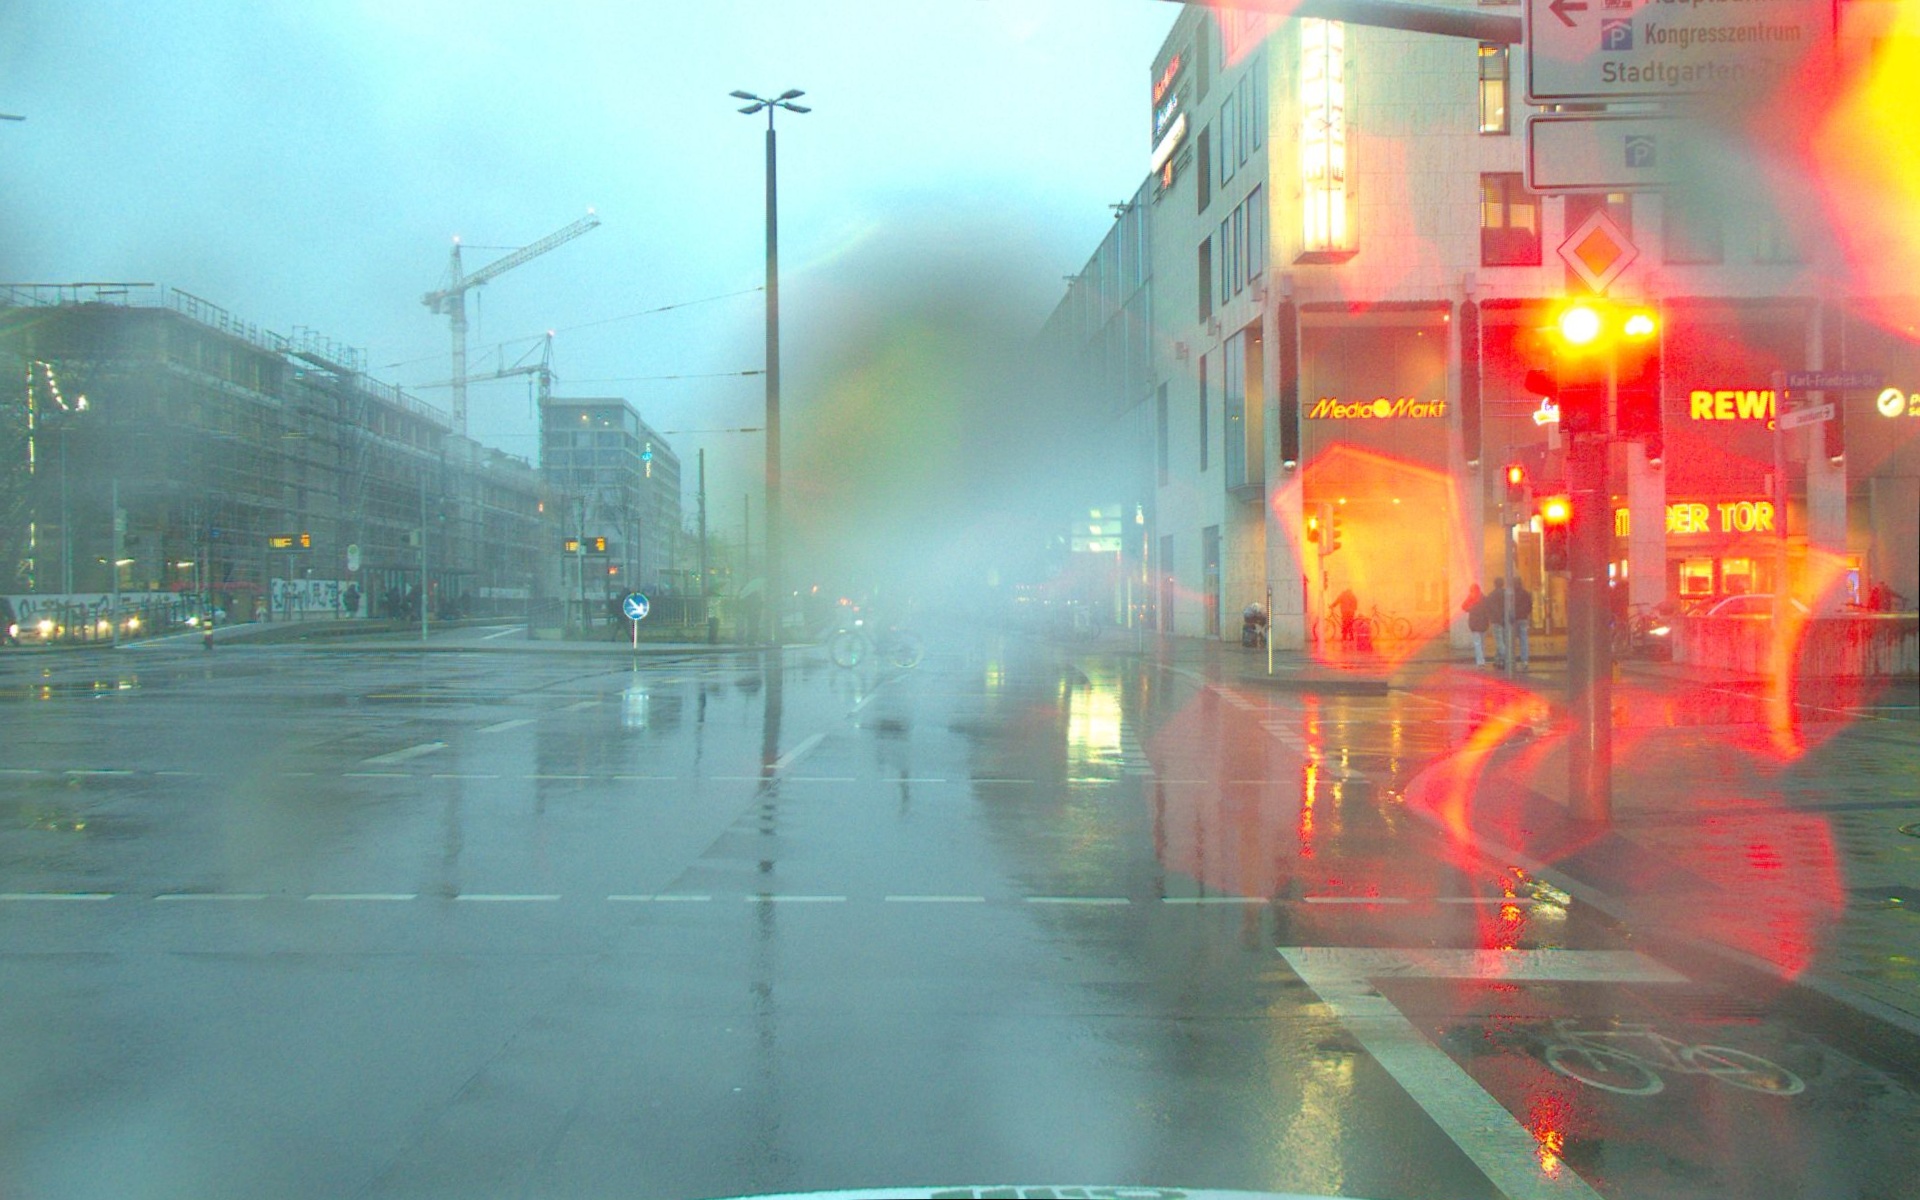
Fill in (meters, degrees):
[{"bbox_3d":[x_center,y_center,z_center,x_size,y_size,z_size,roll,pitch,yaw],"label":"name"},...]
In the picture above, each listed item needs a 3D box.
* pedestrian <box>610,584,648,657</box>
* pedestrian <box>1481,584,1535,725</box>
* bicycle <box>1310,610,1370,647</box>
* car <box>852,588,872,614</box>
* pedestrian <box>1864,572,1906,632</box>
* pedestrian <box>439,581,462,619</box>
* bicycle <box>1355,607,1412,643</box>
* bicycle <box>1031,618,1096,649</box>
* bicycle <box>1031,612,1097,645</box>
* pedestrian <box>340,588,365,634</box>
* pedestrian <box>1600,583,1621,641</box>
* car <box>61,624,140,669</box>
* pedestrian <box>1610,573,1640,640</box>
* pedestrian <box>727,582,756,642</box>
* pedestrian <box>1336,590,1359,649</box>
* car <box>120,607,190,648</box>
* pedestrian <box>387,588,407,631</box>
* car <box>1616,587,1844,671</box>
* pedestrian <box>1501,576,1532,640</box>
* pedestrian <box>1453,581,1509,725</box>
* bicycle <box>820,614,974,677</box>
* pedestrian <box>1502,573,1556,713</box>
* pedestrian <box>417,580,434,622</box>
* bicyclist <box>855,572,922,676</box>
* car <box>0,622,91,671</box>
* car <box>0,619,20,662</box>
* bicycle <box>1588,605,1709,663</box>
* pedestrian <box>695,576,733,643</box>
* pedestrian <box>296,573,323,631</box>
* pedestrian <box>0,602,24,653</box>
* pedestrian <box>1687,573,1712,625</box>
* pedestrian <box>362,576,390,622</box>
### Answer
[{"bbox_3d":[-9.447,0.573,47.253,0.771,2.049,0.724,0,-1,41],"label":"pedestrian"},{"bbox_3d":[9.789,0.967,29.584,0.675,2.484,0.758,1,-1,-1],"label":"pedestrian"},{"bbox_3d":[11.588,0.878,50.483,1.729,1.088,0.525,1,-1,7],"label":"bicycle"},{"bbox_3d":[-7.724,0.078,130.387,1.546,2.049,3.169,-1,0,-3],"label":"car"},{"bbox_3d":[26.871,0.066,48.041,0.875,1.714,0.528,-1,-1,-1],"label":"pedestrian"},{"bbox_3d":[-27.798,0.005,90.218,0.923,2.049,1.093,1,-1,-3],"label":"pedestrian"},{"bbox_3d":[13.046,0.778,50.992,1.614,1.088,0.524,1,-1,-5],"label":"bicycle"},{"bbox_3d":[3.902,1.266,62.499,2.376,1.118,0.711,-1,-1,-3],"label":"bicycle"},{"bbox_3d":[3.869,1.068,61.543,2.393,1.174,0.674,-1,-1,-2],"label":"bicycle"},{"bbox_3d":[-25.959,0.465,70.692,0.750,1.931,0.762,1,-2,-1],"label":"pedestrian"},{"bbox_3d":[19.028,0.341,48.368,0.476,1.692,0.457,-1,-1,30],"label":"pedestrian"},{"bbox_3d":[-37.911,2.027,73.057,1.958,1.822,3.990,1,0,-11],"label":"car"},{"bbox_3d":[20.657,0.212,51.401,0.775,2.049,0.593,-1,-1,18],"label":"pedestrian"},{"bbox_3d":[-6.327,0.337,47.890,0.601,1.715,0.575,0,-1,41],"label":"pedestrian"},{"bbox_3d":[11.682,0.589,49.876,0.587,1.775,0.525,1,-1,7],"label":"pedestrian"},{"bbox_3d":[-38.223,1.289,78.608,1.958,1.822,3.990,1,0,-11],"label":"car"},{"bbox_3d":[-25.135,0.410,73.849,0.684,1.913,0.553,1,-1,-2],"label":"pedestrian"},{"bbox_3d":[16.274,0.601,35.097,3.905,1.646,2.000,1,0,0],"label":"car"},{"bbox_3d":[17.900,0.245,53.197,0.828,2.049,0.698,-1,0,8],"label":"pedestrian"},{"bbox_3d":[9.147,0.915,29.047,0.700,2.484,0.758,1,-1,-1],"label":"pedestrian"},{"bbox_3d":[-1.183,0.850,31.049,2.805,1.118,0.743,1,0,-11],"label":"bicycle"},{"bbox_3d":[10.354,0.771,30.104,0.679,2.491,0.791,1,-1,-1],"label":"pedestrian"},{"bbox_3d":[-26.039,0.049,80.553,0.559,2.002,0.664,2,-1,-7],"label":"pedestrian"},{"bbox_3d":[-1.343,0.444,31.024,1.135,1.904,0.743,1,-1,-11],"label":"bicyclist"},{"bbox_3d":[-37.025,1.840,67.076,1.830,1.860,3.993,1,0,-8],"label":"car"},{"bbox_3d":[-36.407,1.516,60.538,2.038,1.557,4.604,-1,0,-10],"label":"car"},{"bbox_3d":[17.200,0.839,41.352,2.659,1.383,0.957,-1,-1,-4],"label":"bicycle"},{"bbox_3d":[-6.879,0.270,46.270,0.813,1.863,0.777,1,-1,-31],"label":"pedestrian"},{"bbox_3d":[-26.890,0.075,68.354,0.750,2.364,0.762,1,-2,-1],"label":"pedestrian"},{"bbox_3d":[-26.767,0.764,46.262,0.712,1.413,0.725,1,-1,12],"label":"pedestrian"},{"bbox_3d":[25.187,-0.027,56.306,0.721,1.748,0.738,-1,-1,27],"label":"pedestrian"},{"bbox_3d":[-26.810,-0.038,75.939,0.923,2.049,1.093,1,-1,-3],"label":"pedestrian"}]
